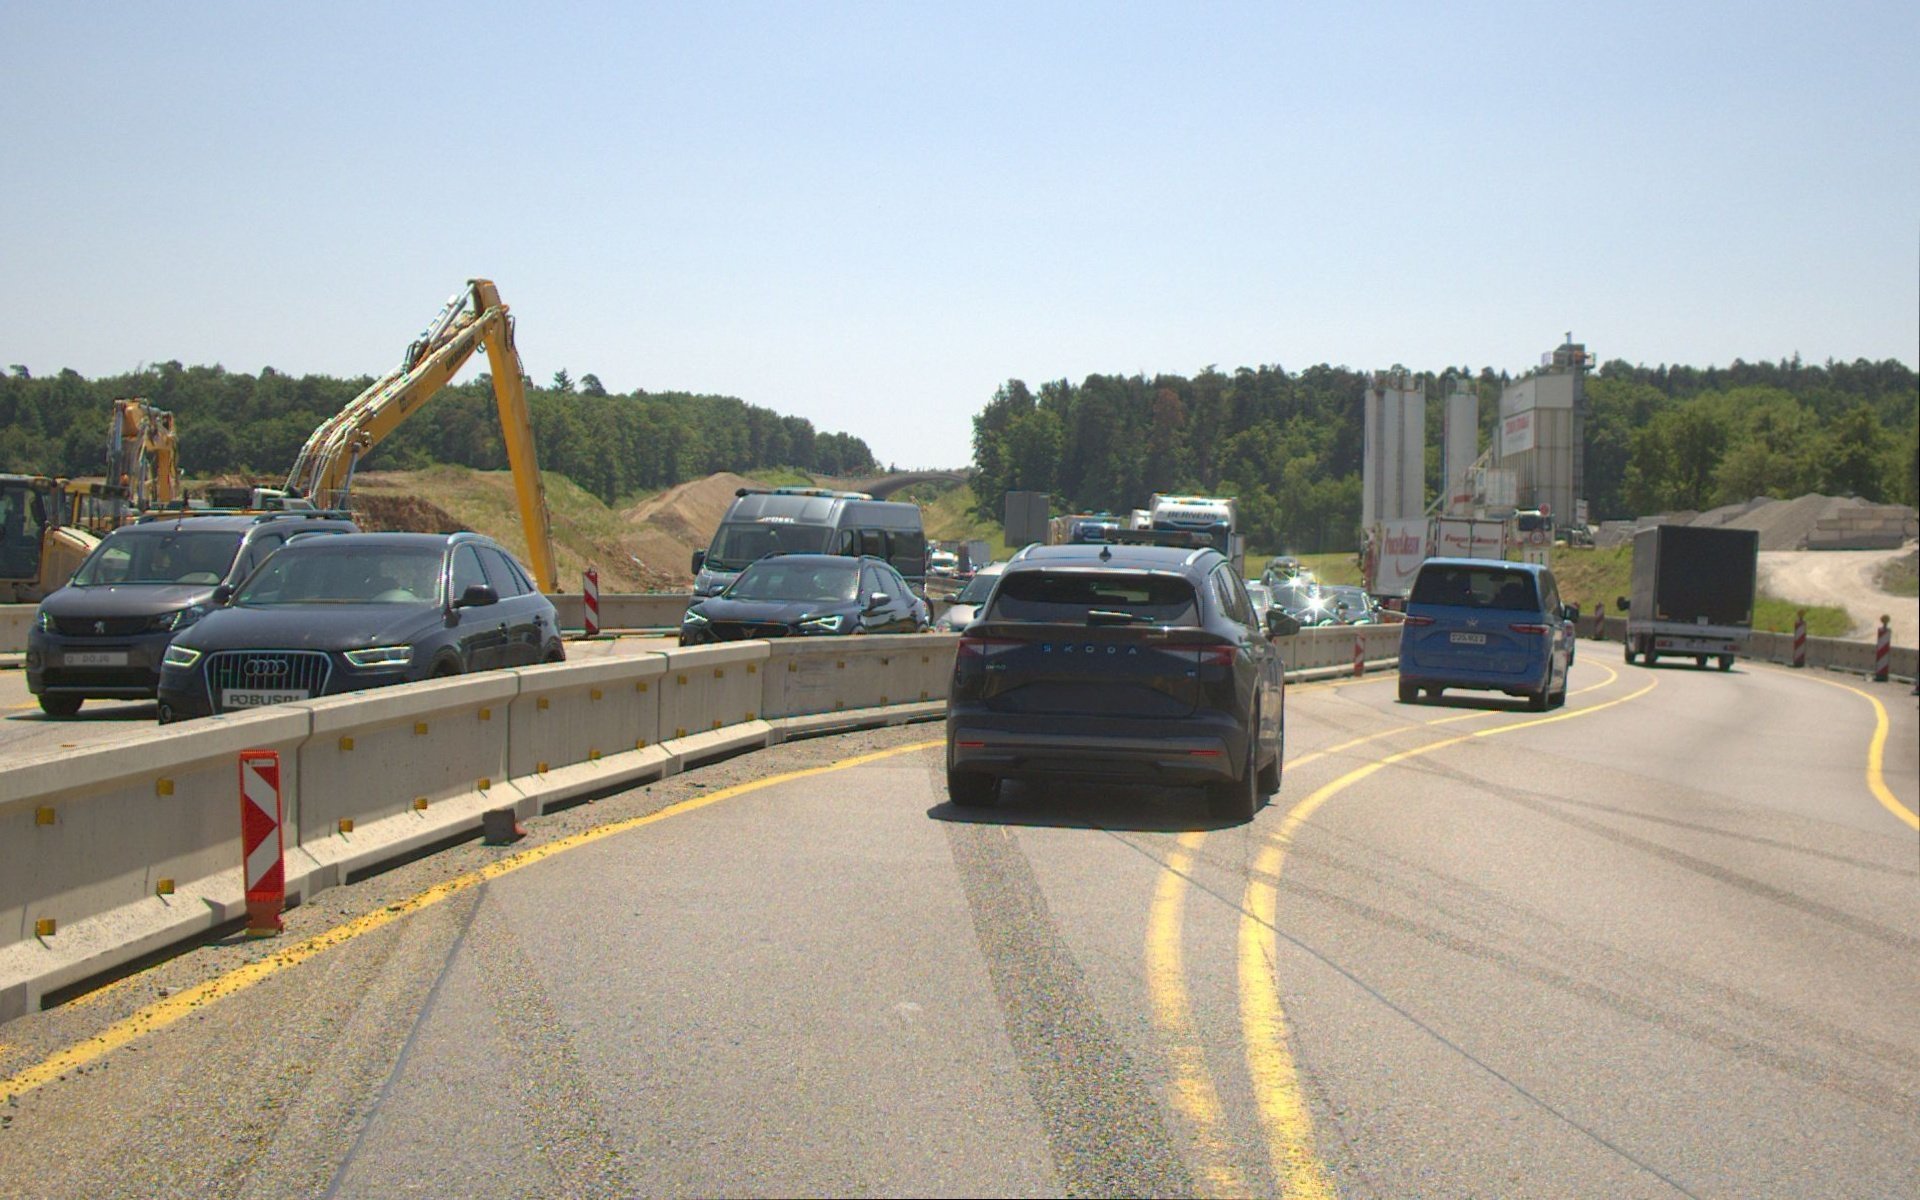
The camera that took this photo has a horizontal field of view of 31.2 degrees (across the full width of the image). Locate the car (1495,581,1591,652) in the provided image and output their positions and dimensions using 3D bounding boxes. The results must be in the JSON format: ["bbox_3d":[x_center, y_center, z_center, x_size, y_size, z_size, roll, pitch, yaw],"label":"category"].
[{"bbox_3d":[13.091,0.345,77.248,2.046,1.521,5.064,1,0,9],"label":"car"}]

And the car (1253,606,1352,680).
[{"bbox_3d":[7.234,0.877,72.327,1.726,1.403,4.128,3,1,10],"label":"car"}]

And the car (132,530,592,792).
[{"bbox_3d":[-3.933,0.346,23.485,1.768,1.602,4.709,0,1,7],"label":"car"}]

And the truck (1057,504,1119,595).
[{"bbox_3d":[6.165,-2.441,165.748,2.773,4.123,10.870,2,1,2],"label":"truck"}]

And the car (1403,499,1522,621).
[{"bbox_3d":[18.552,-1.495,127.535,3.437,4.087,9.196,5,1,4],"label":"car"}]

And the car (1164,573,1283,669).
[{"bbox_3d":[4.907,0.372,63.595,1.510,1.598,3.951,5,1,12],"label":"car"}]

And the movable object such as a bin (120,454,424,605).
[{"bbox_3d":[-12.731,-1.262,64.127,3.294,2.432,5.435,5,1,15],"label":"movable object such as a bin"}]

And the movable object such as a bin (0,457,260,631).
[{"bbox_3d":[-15.263,-1.037,54.008,7.920,2.424,3.711,5,1,33],"label":"movable object such as a bin"}]

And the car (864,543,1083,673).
[{"bbox_3d":[0.240,0.085,46.930,1.758,1.610,4.225,3,1,17],"label":"car"}]

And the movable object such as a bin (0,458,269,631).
[{"bbox_3d":[-15.574,-1.041,60.502,6.058,2.753,2.808,4,1,23],"label":"movable object such as a bin"}]

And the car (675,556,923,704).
[{"bbox_3d":[-1.632,0.272,36.494,1.690,1.476,4.468,0,1,10],"label":"car"}]

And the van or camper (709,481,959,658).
[{"bbox_3d":[-1.821,-0.468,52.434,2.100,2.532,6.301,0,0,14],"label":"van or camper"}]

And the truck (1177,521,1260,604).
[{"bbox_3d":[14.706,-2.205,196.397,3.475,4.206,10.377,6,1,-1],"label":"truck"}]

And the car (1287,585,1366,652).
[{"bbox_3d":[8.552,0.408,79.971,1.656,1.448,4.247,2,1,8],"label":"car"}]

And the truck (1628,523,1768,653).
[{"bbox_3d":[17.369,-0.321,81.206,2.674,2.935,5.619,1,1,7],"label":"truck"}]

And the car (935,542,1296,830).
[{"bbox_3d":[1.068,0.463,21.462,1.843,1.576,3.999,2,1,8],"label":"car"}]

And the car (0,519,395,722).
[{"bbox_3d":[-7.104,0.145,32.228,1.776,1.759,4.707,0,1,15],"label":"car"}]

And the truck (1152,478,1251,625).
[{"bbox_3d":[7.275,-1.466,104.361,2.771,4.245,6.198,2,1,3],"label":"truck"}]

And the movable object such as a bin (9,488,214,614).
[{"bbox_3d":[-21.321,-1.276,86.714,3.665,3.015,4.992,0,2,4],"label":"movable object such as a bin"}]

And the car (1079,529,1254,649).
[{"bbox_3d":[3.473,-0.173,56.790,1.874,1.866,5.054,1,0,15],"label":"car"}]

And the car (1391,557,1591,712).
[{"bbox_3d":[6.941,0.399,44.658,1.995,1.837,3.997,2,1,16],"label":"car"}]
